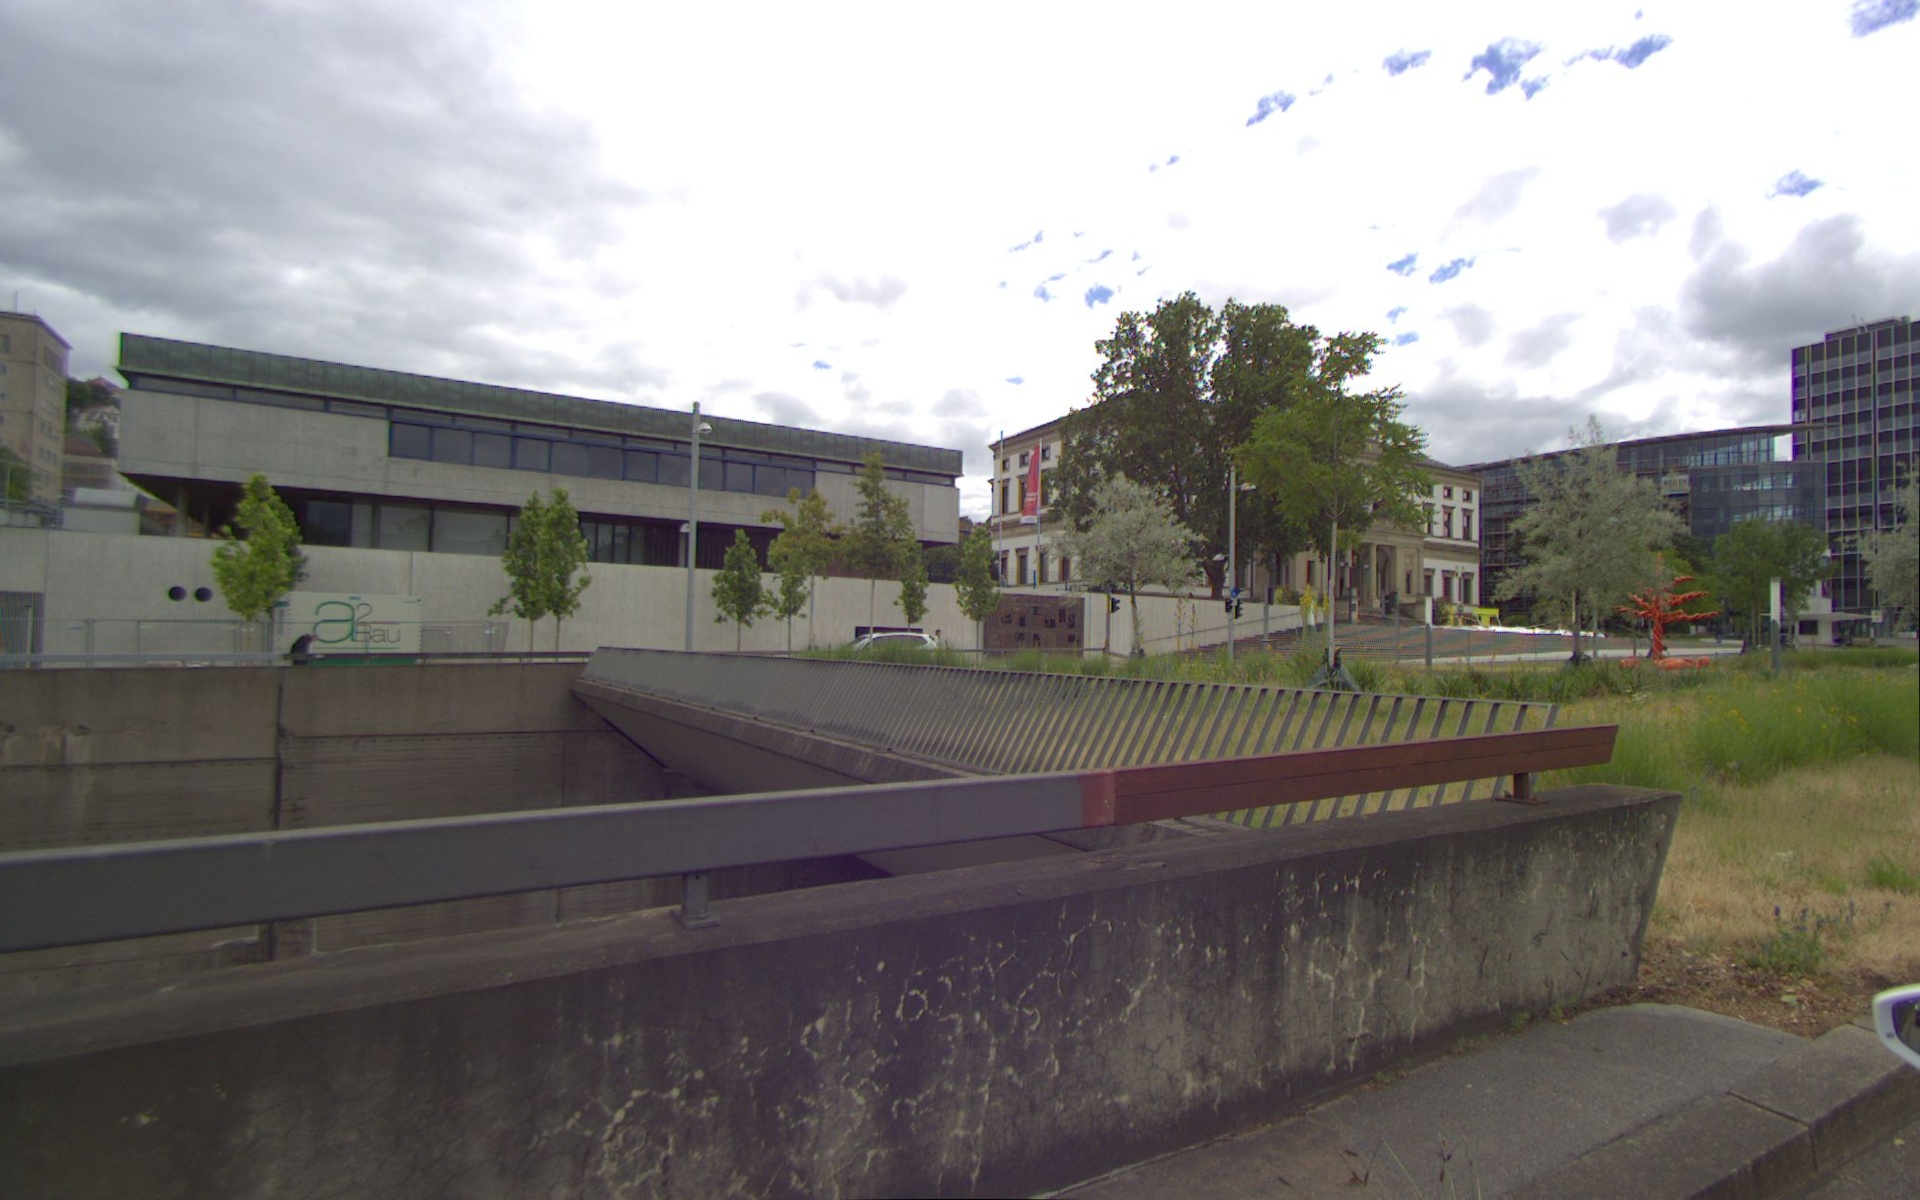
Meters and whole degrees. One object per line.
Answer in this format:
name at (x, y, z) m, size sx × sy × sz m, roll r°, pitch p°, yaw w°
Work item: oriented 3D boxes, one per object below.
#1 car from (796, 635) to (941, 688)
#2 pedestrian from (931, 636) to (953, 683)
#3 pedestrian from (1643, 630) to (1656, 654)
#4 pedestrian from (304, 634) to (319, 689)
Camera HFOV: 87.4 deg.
car at (-3.015, 1.994, 33.373) m, size 4.556 × 1.595 × 1.711 m, roll 0°, pitch -1°, yaw -29°
pedestrian at (-0.692, 2.222, 37.847) m, size 0.655 × 1.756 × 0.537 m, roll 1°, pitch -1°, yaw -30°
pedestrian at (48.035, 2.928, 69.940) m, size 0.643 × 1.671 × 0.521 m, roll 1°, pitch 0°, yaw -31°
pedestrian at (-18.626, 1.766, 28.853) m, size 0.314 × 1.542 × 0.315 m, roll 1°, pitch 0°, yaw -36°
